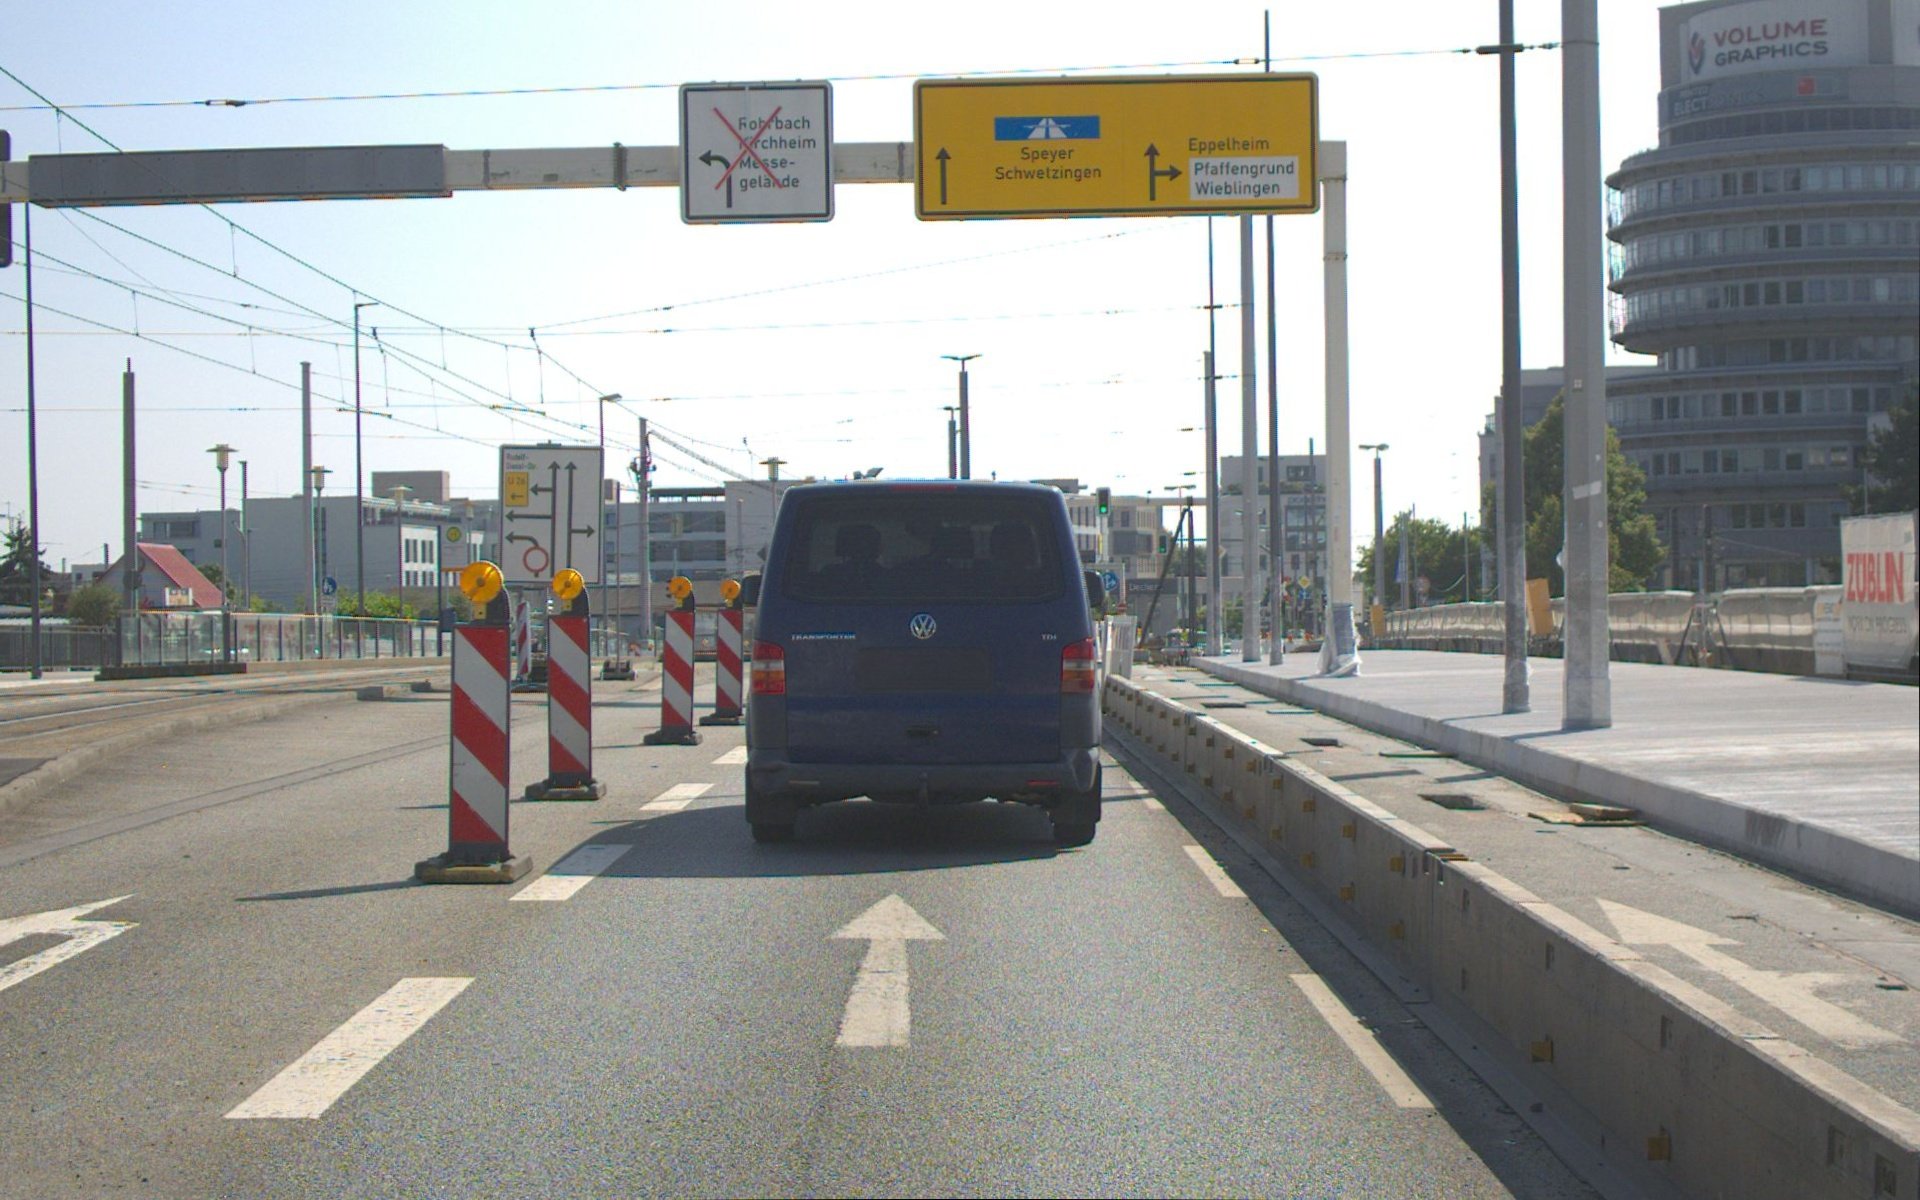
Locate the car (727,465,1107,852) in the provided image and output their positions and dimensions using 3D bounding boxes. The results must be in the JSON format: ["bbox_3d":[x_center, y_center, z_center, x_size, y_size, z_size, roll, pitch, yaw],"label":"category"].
[{"bbox_3d":[-0.236,0.289,19.352,1.888,1.927,4.000,1,0,-1],"label":"car"}]

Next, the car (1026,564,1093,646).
[{"bbox_3d":[3.618,0.151,124.275,2.339,2.877,5.970,1,0,2],"label":"car"}]

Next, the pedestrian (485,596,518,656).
[{"bbox_3d":[-12.792,0.723,95.928,0.660,1.649,0.739,-1,0,14],"label":"pedestrian"}]
